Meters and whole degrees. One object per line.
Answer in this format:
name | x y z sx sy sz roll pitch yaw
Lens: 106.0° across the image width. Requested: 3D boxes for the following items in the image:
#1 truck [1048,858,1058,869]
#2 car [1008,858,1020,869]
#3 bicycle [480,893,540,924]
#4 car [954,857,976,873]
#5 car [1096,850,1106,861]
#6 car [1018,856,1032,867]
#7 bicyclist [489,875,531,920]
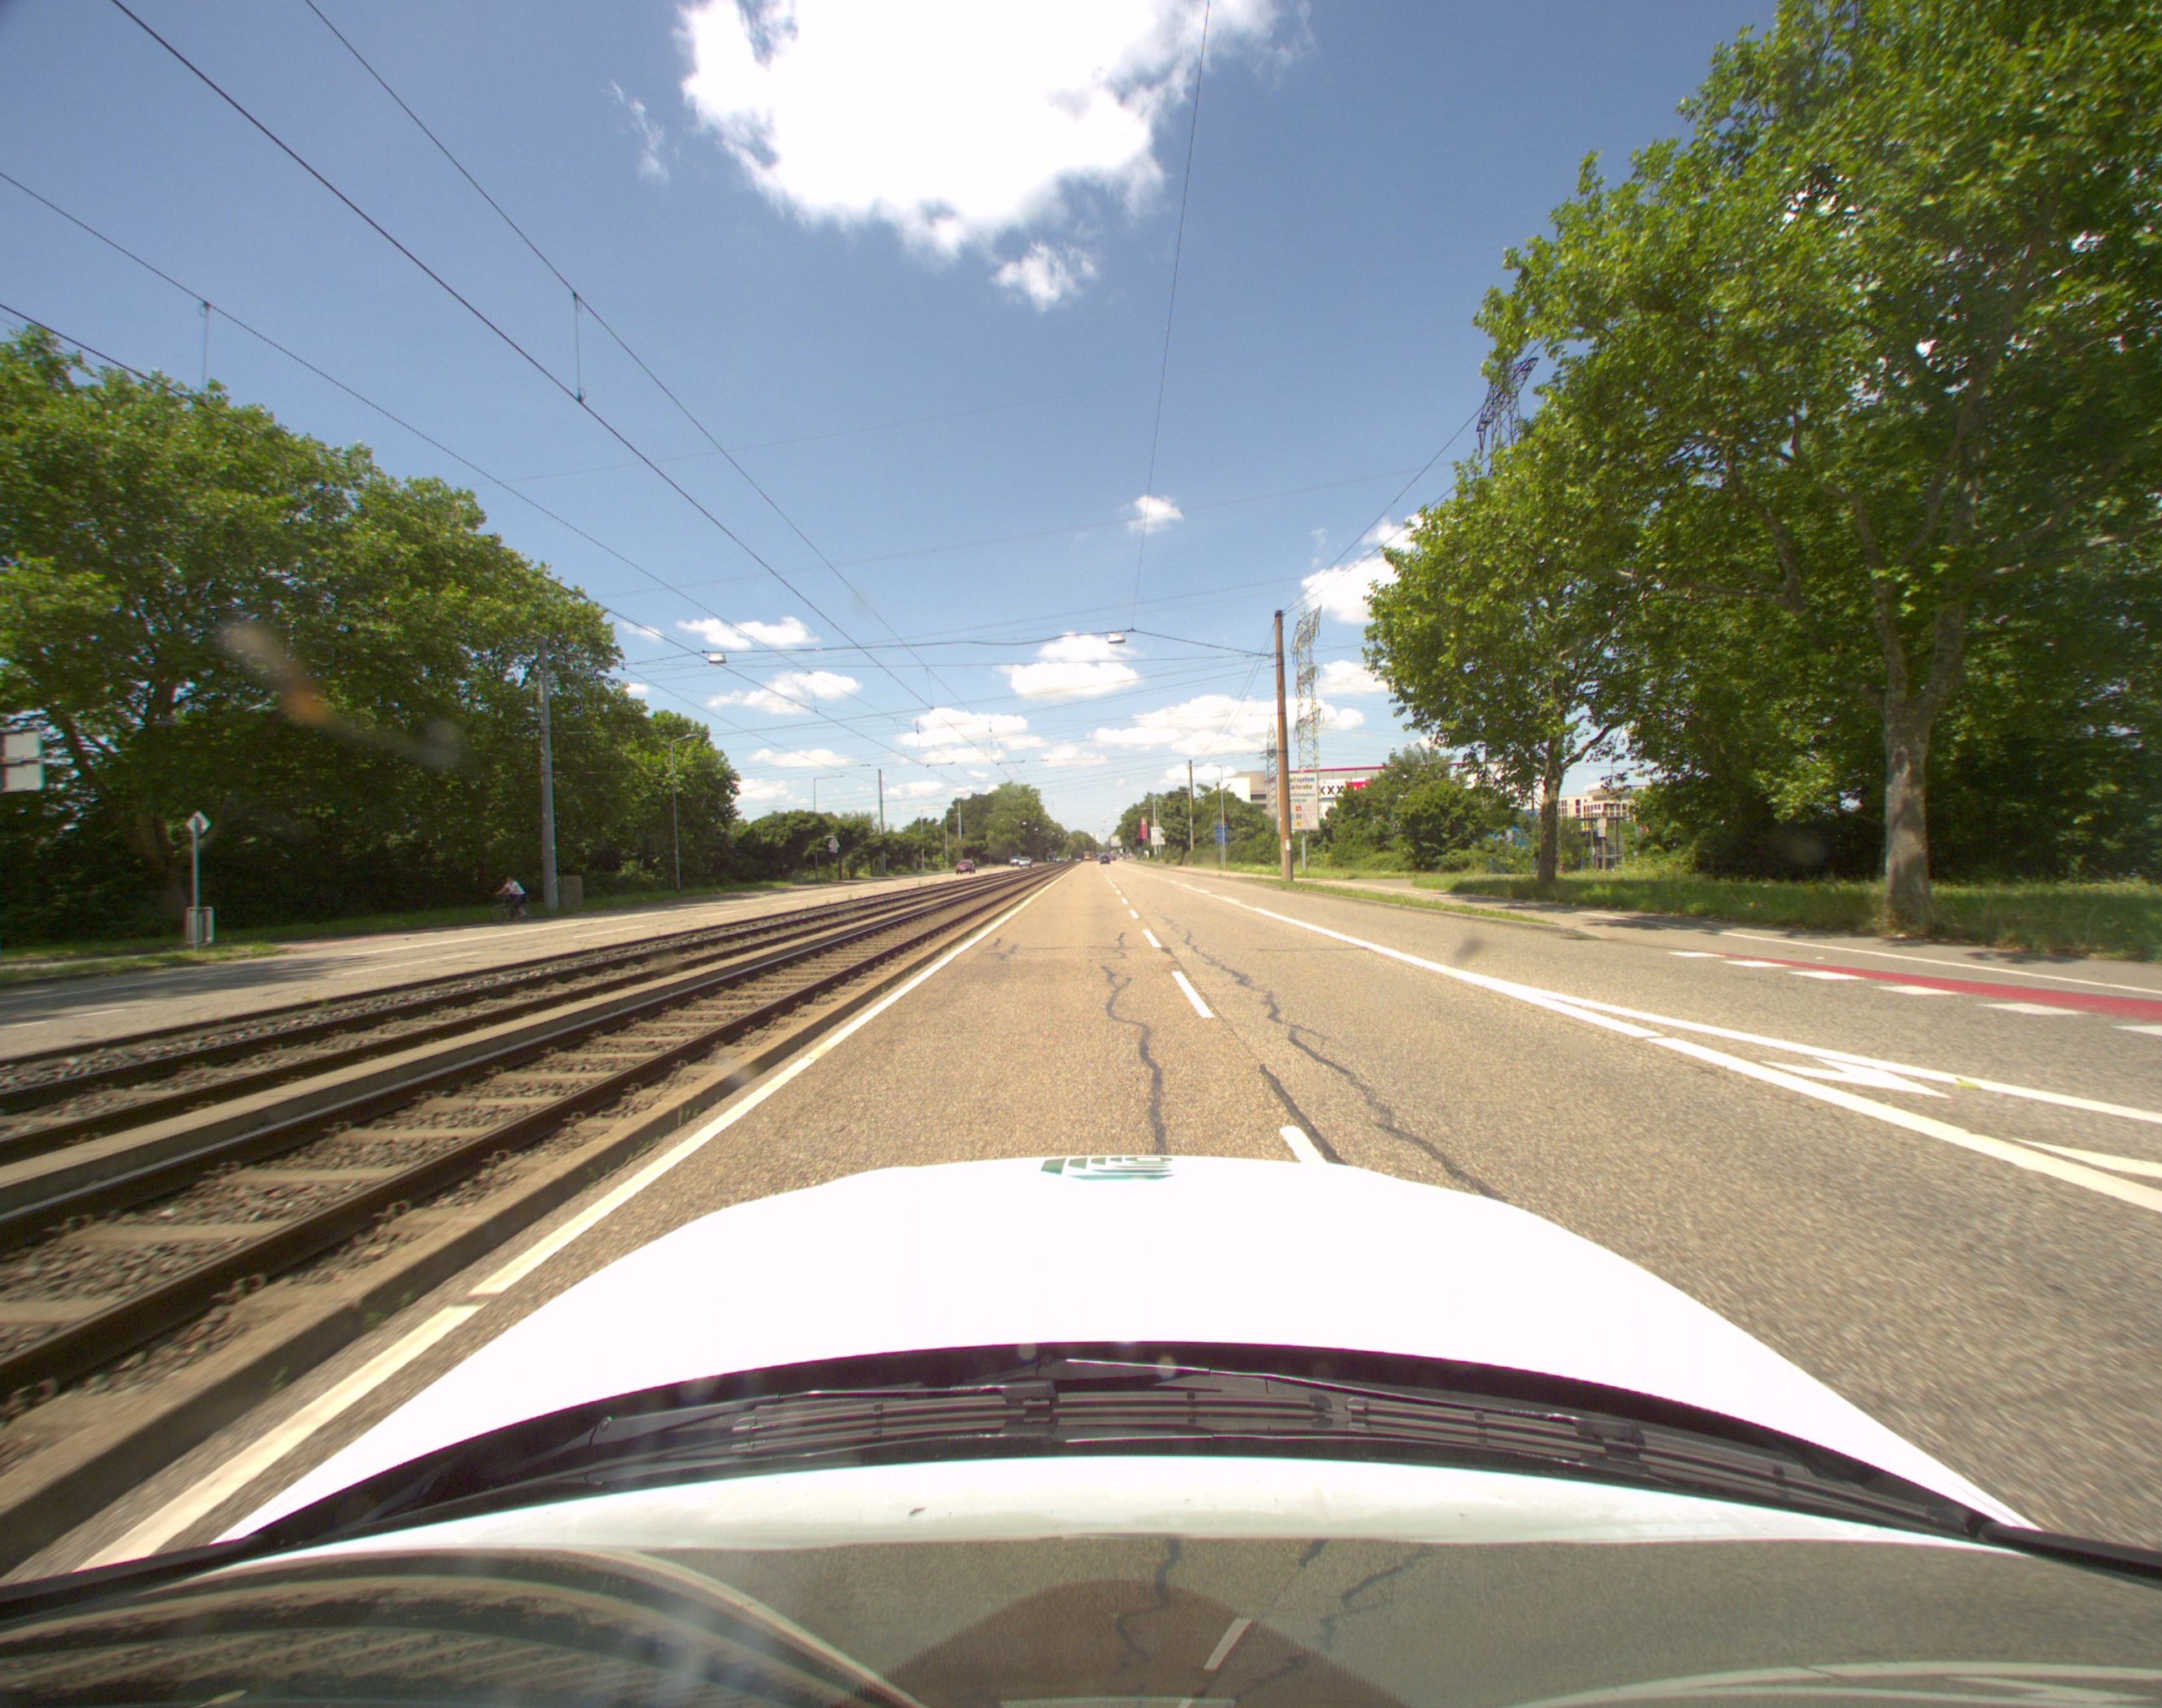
truck | -8.401 2.857 244.510 2.241 3.236 6.045 -2 0 2
car | -12.606 1.798 153.510 1.851 1.927 5.008 -3 0 1
bicycle | -20.356 1.939 29.078 0.619 0.939 2.091 -2 0 0
car | -13.130 1.210 92.272 1.795 1.625 4.211 -3 0 0
car | 3.527 0.259 144.213 1.893 1.805 3.976 0 -1 0
car | -8.970 1.230 129.700 1.795 1.625 4.494 -3 0 0
bicyclist | -20.361 1.534 29.051 0.619 1.518 1.160 -2 0 0
